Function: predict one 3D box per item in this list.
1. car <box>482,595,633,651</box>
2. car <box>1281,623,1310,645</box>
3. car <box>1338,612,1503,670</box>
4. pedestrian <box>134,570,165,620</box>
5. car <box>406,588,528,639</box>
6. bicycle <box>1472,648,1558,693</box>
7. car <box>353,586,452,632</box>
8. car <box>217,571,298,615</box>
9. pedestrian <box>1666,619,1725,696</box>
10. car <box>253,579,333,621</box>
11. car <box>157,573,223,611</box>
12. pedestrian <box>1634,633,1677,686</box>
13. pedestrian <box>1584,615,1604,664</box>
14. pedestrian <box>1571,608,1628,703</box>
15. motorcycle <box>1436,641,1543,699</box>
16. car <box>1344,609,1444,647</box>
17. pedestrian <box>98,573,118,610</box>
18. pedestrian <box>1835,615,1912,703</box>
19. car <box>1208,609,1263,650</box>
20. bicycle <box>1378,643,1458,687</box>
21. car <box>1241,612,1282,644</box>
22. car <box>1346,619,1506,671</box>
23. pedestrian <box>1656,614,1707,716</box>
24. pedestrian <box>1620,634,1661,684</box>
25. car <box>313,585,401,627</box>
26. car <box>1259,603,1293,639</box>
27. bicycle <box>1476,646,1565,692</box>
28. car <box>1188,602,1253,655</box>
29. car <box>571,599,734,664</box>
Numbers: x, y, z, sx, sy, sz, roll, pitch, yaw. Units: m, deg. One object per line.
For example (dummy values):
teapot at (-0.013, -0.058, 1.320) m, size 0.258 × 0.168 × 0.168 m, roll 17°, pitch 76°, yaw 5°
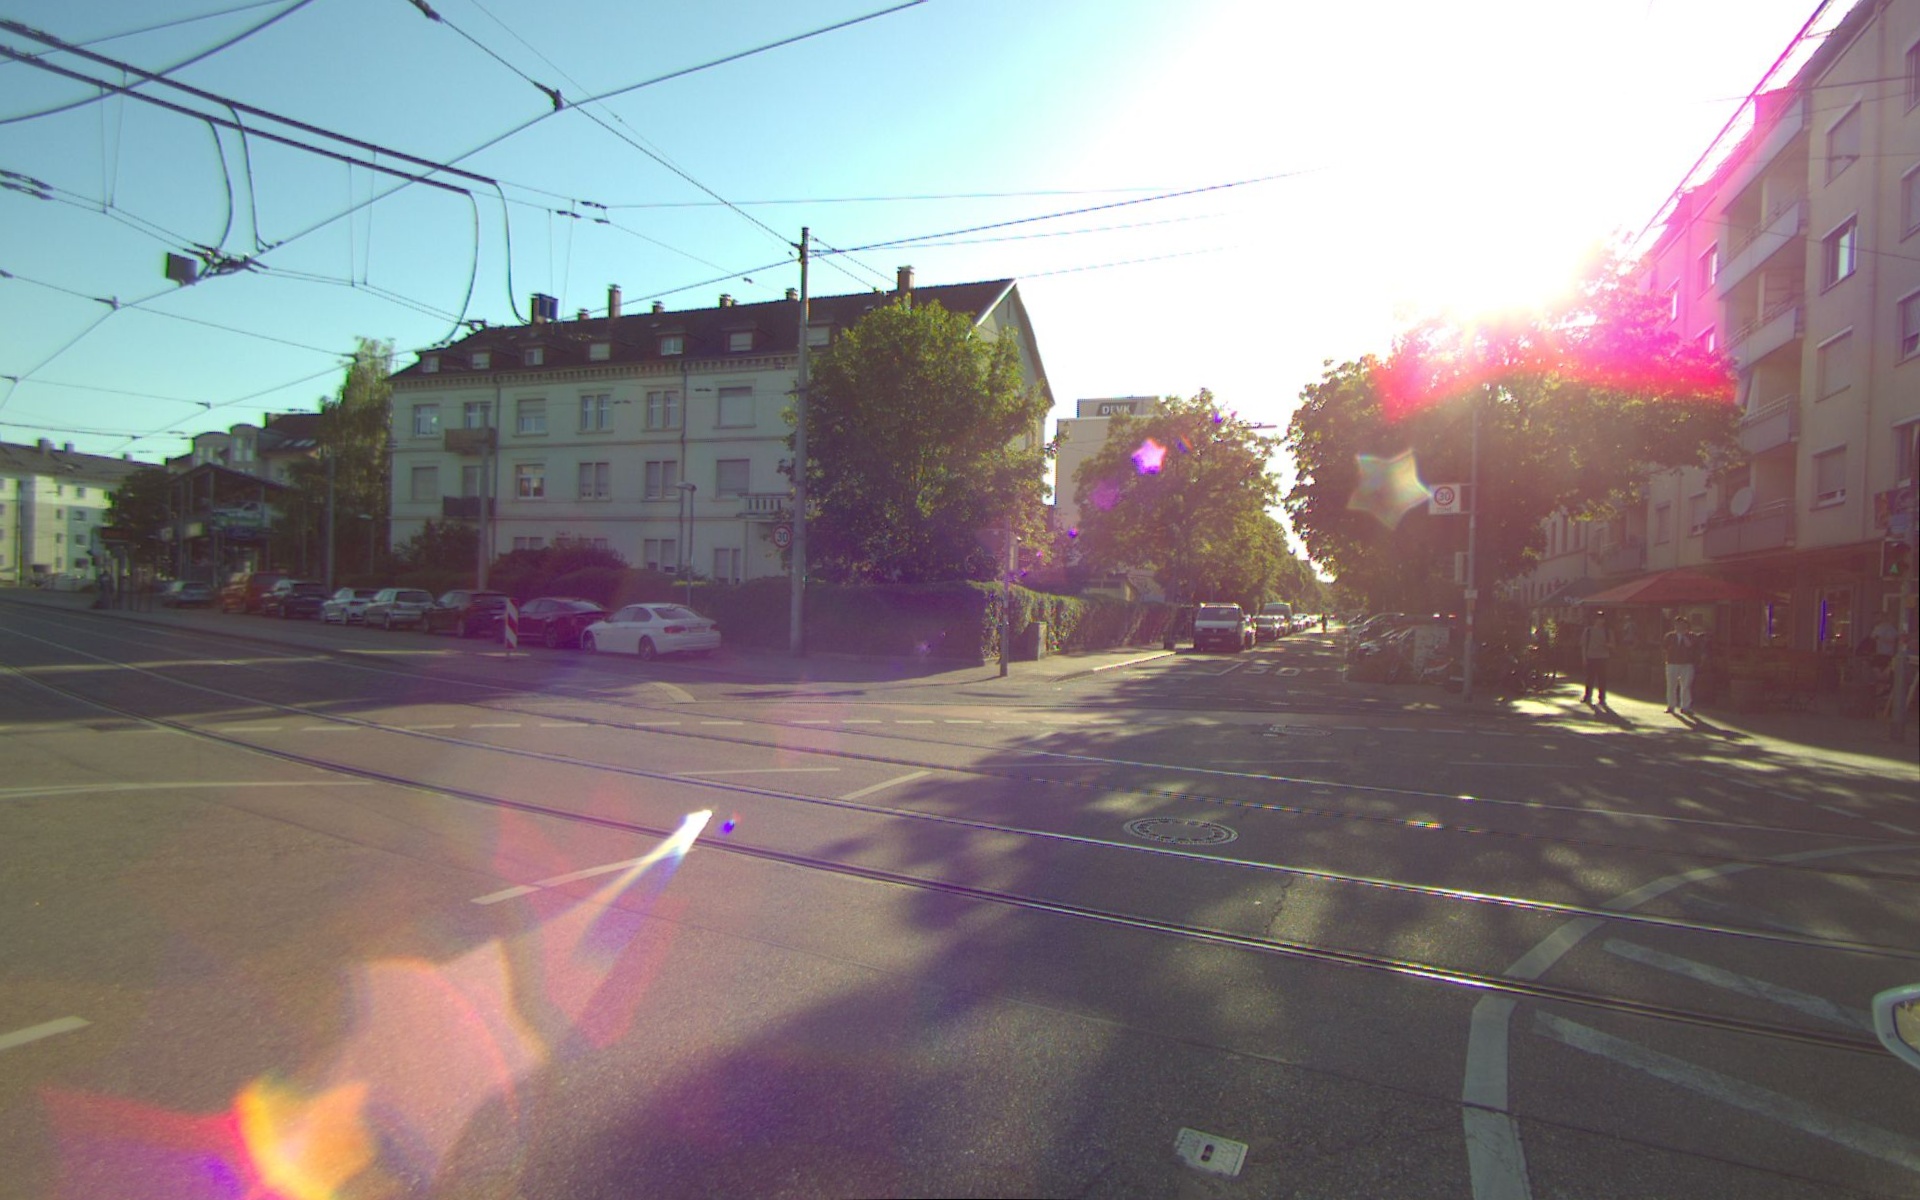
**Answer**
car at (-11.801, 0.613, 29.336) m, size 4.629 × 1.395 × 1.980 m, roll 2°, pitch 2°, yaw 36°
car at (30.847, 3.133, 92.332) m, size 1.962 × 1.639 × 3.998 m, roll 5°, pitch -1°, yaw 25°
car at (17.768, 1.578, 39.098) m, size 5.526 × 1.949 × 2.363 m, roll 2°, pitch -2°, yaw 18°
pedestrian at (-33.399, -0.203, 41.393) m, size 0.918 × 2.040 × 0.759 m, roll 2°, pitch 0°, yaw -44°
car at (-16.334, 0.395, 33.182) m, size 4.635 × 1.467 × 1.977 m, roll 2°, pitch 2°, yaw 41°
bicycle at (13.138, 1.663, 23.837) m, size 1.695 × 0.945 × 0.562 m, roll 2°, pitch 0°, yaw 21°
car at (-19.939, 0.278, 35.896) m, size 3.664 × 1.467 × 1.977 m, roll 2°, pitch 2°, yaw 41°
car at (-33.770, -0.379, 48.248) m, size 5.074 × 1.988 × 2.046 m, roll 2°, pitch 2°, yaw 41°
pedestrian at (17.805, 1.369, 24.339) m, size 0.896 × 1.795 × 0.814 m, roll 2°, pitch 0°, yaw 19°
car at (-29.147, -0.059, 43.879) m, size 4.305 × 1.690 × 1.835 m, roll 2°, pitch 2°, yaw 41°
car at (-44.266, -0.495, 57.699) m, size 5.074 × 1.988 × 2.046 m, roll 2°, pitch 2°, yaw 41°
pedestrian at (19.039, 1.608, 27.523) m, size 0.799 × 1.380 × 0.913 m, roll 2°, pitch 0°, yaw 26°
pedestrian at (27.089, 1.685, 42.918) m, size 0.526 × 2.040 × 0.512 m, roll 2°, pitch 0°, yaw 13°
pedestrian at (12.512, 1.067, 19.673) m, size 0.679 × 1.774 × 0.795 m, roll 2°, pitch 0°, yaw 14°
motorcycle at (11.571, 1.518, 22.012) m, size 1.919 × 1.124 × 0.838 m, roll 2°, pitch 0°, yaw 16°
car at (24.844, 1.613, 57.691) m, size 5.005 × 1.949 × 2.363 m, roll 2°, pitch -2°, yaw 18°
pedestrian at (-35.893, -0.365, 42.301) m, size 0.563 × 1.520 × 0.671 m, roll 2°, pitch 0°, yaw -37°
pedestrian at (19.515, 1.243, 21.483) m, size 0.895 × 1.795 × 0.814 m, roll 2°, pitch 0°, yaw 14°
car at (13.410, 1.399, 48.660) m, size 2.315 × 1.819 × 5.311 m, roll 2°, pitch 0°, yaw 18°
bicycle at (11.079, 1.567, 24.353) m, size 1.695 × 0.945 × 0.672 m, roll 2°, pitch 0°, yaw 21°
car at (18.864, 1.716, 62.754) m, size 2.315 × 1.819 × 5.311 m, roll 2°, pitch 0°, yaw 18°
car at (16.854, 1.625, 36.673) m, size 5.005 × 1.577 × 2.363 m, roll 2°, pitch -2°, yaw 18°
pedestrian at (13.175, 1.163, 18.354) m, size 0.682 × 1.774 × 0.837 m, roll 2°, pitch 0°, yaw 35°
pedestrian at (19.485, 1.678, 28.776) m, size 0.799 × 1.380 × 0.913 m, roll 2°, pitch 0°, yaw 26°
car at (-23.366, 0.195, 38.889) m, size 3.900 × 1.467 × 1.835 m, roll 2°, pitch 2°, yaw 41°
car at (24.426, 1.599, 77.625) m, size 2.315 × 2.548 × 5.311 m, roll 2°, pitch 0°, yaw 18°
bicycle at (12.878, 1.577, 23.115) m, size 1.695 × 0.945 × 0.562 m, roll 2°, pitch 0°, yaw 21°
car at (11.172, 1.181, 42.871) m, size 2.315 × 2.040 × 5.311 m, roll 2°, pitch 0°, yaw 18°
car at (-7.989, 0.736, 25.897) m, size 4.428 × 1.395 × 1.922 m, roll 2°, pitch 2°, yaw 39°
